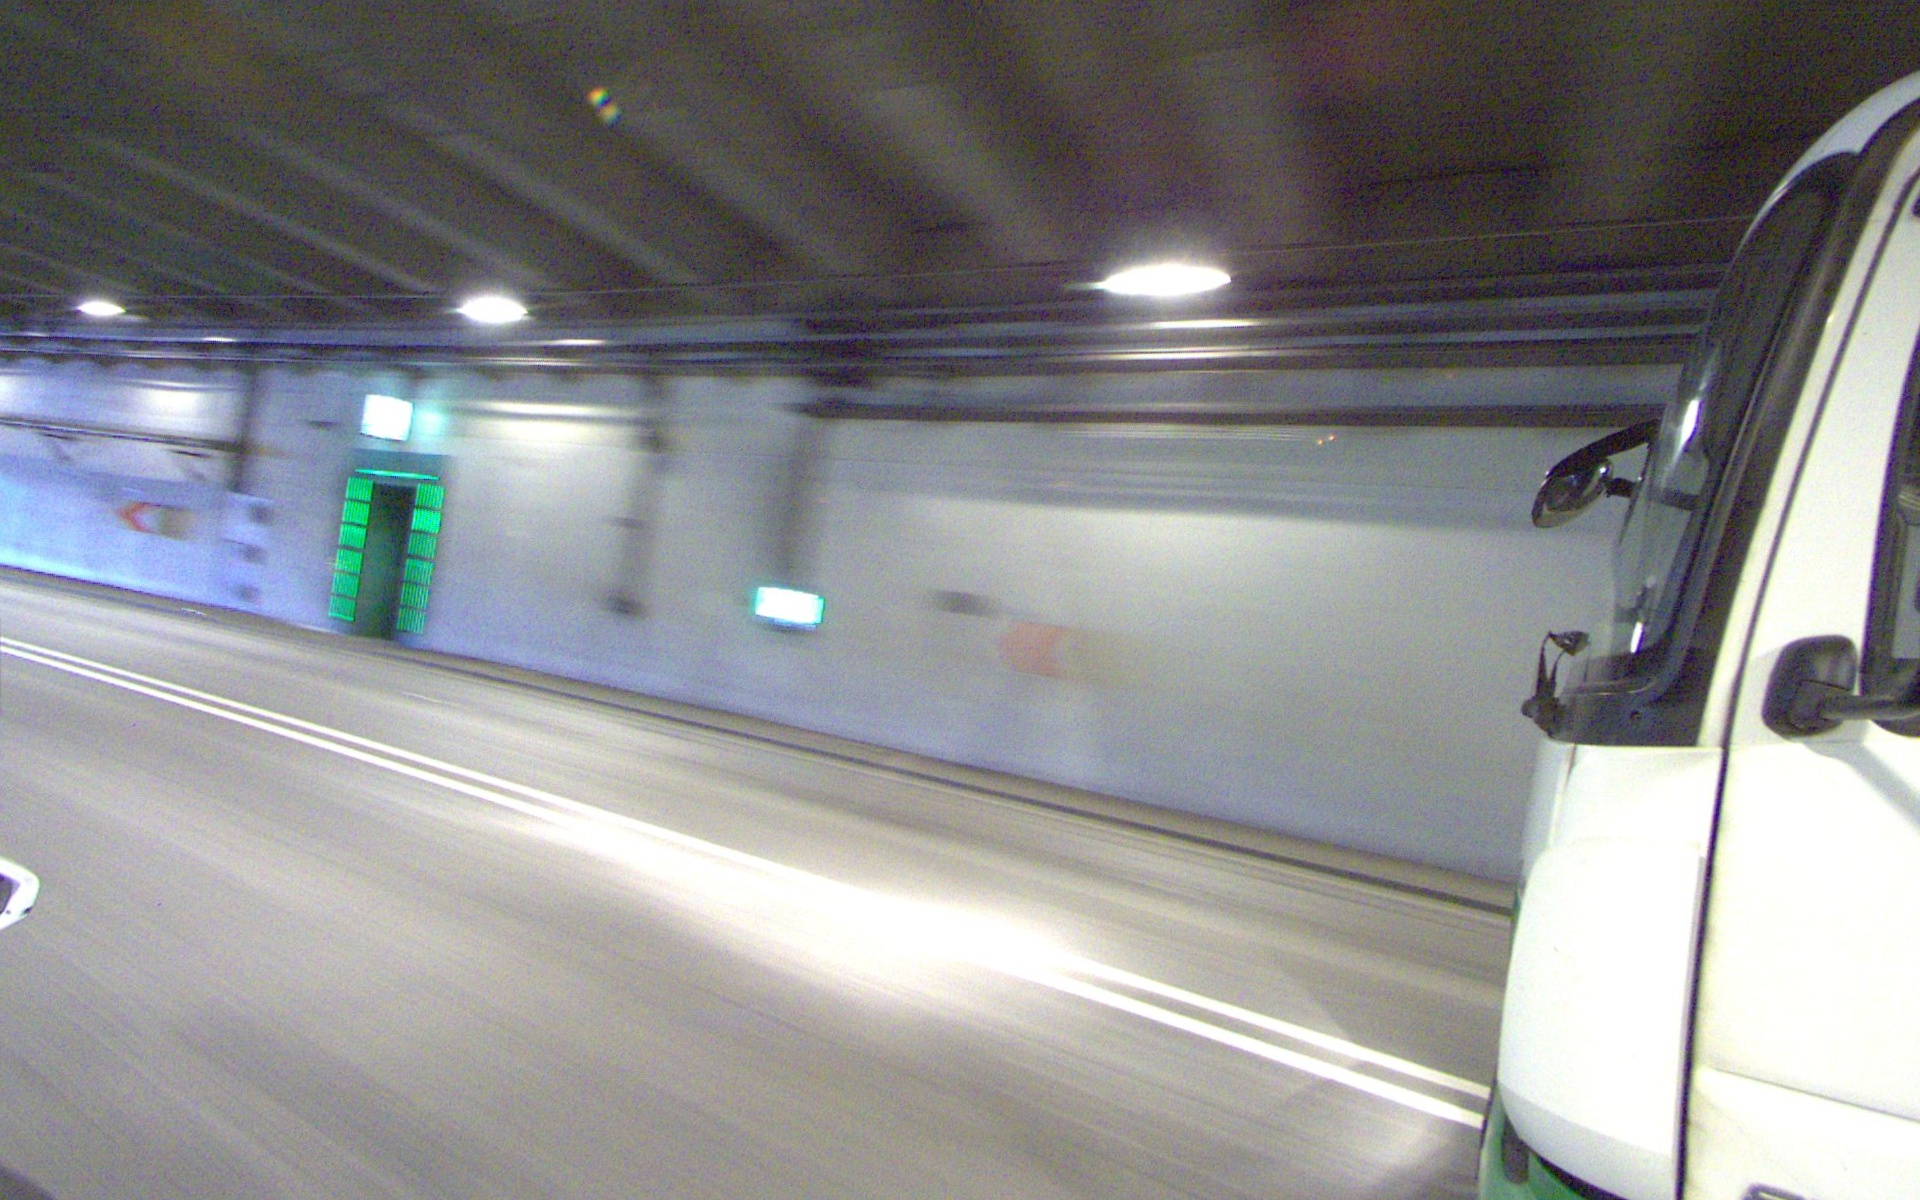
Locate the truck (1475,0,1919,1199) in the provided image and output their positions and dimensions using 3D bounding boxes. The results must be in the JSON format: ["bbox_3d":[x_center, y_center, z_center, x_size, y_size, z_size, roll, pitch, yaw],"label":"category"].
[{"bbox_3d":[4.368,0.480,0.369,7.127,3.218,2.557,7,-1,33],"label":"truck"}]
